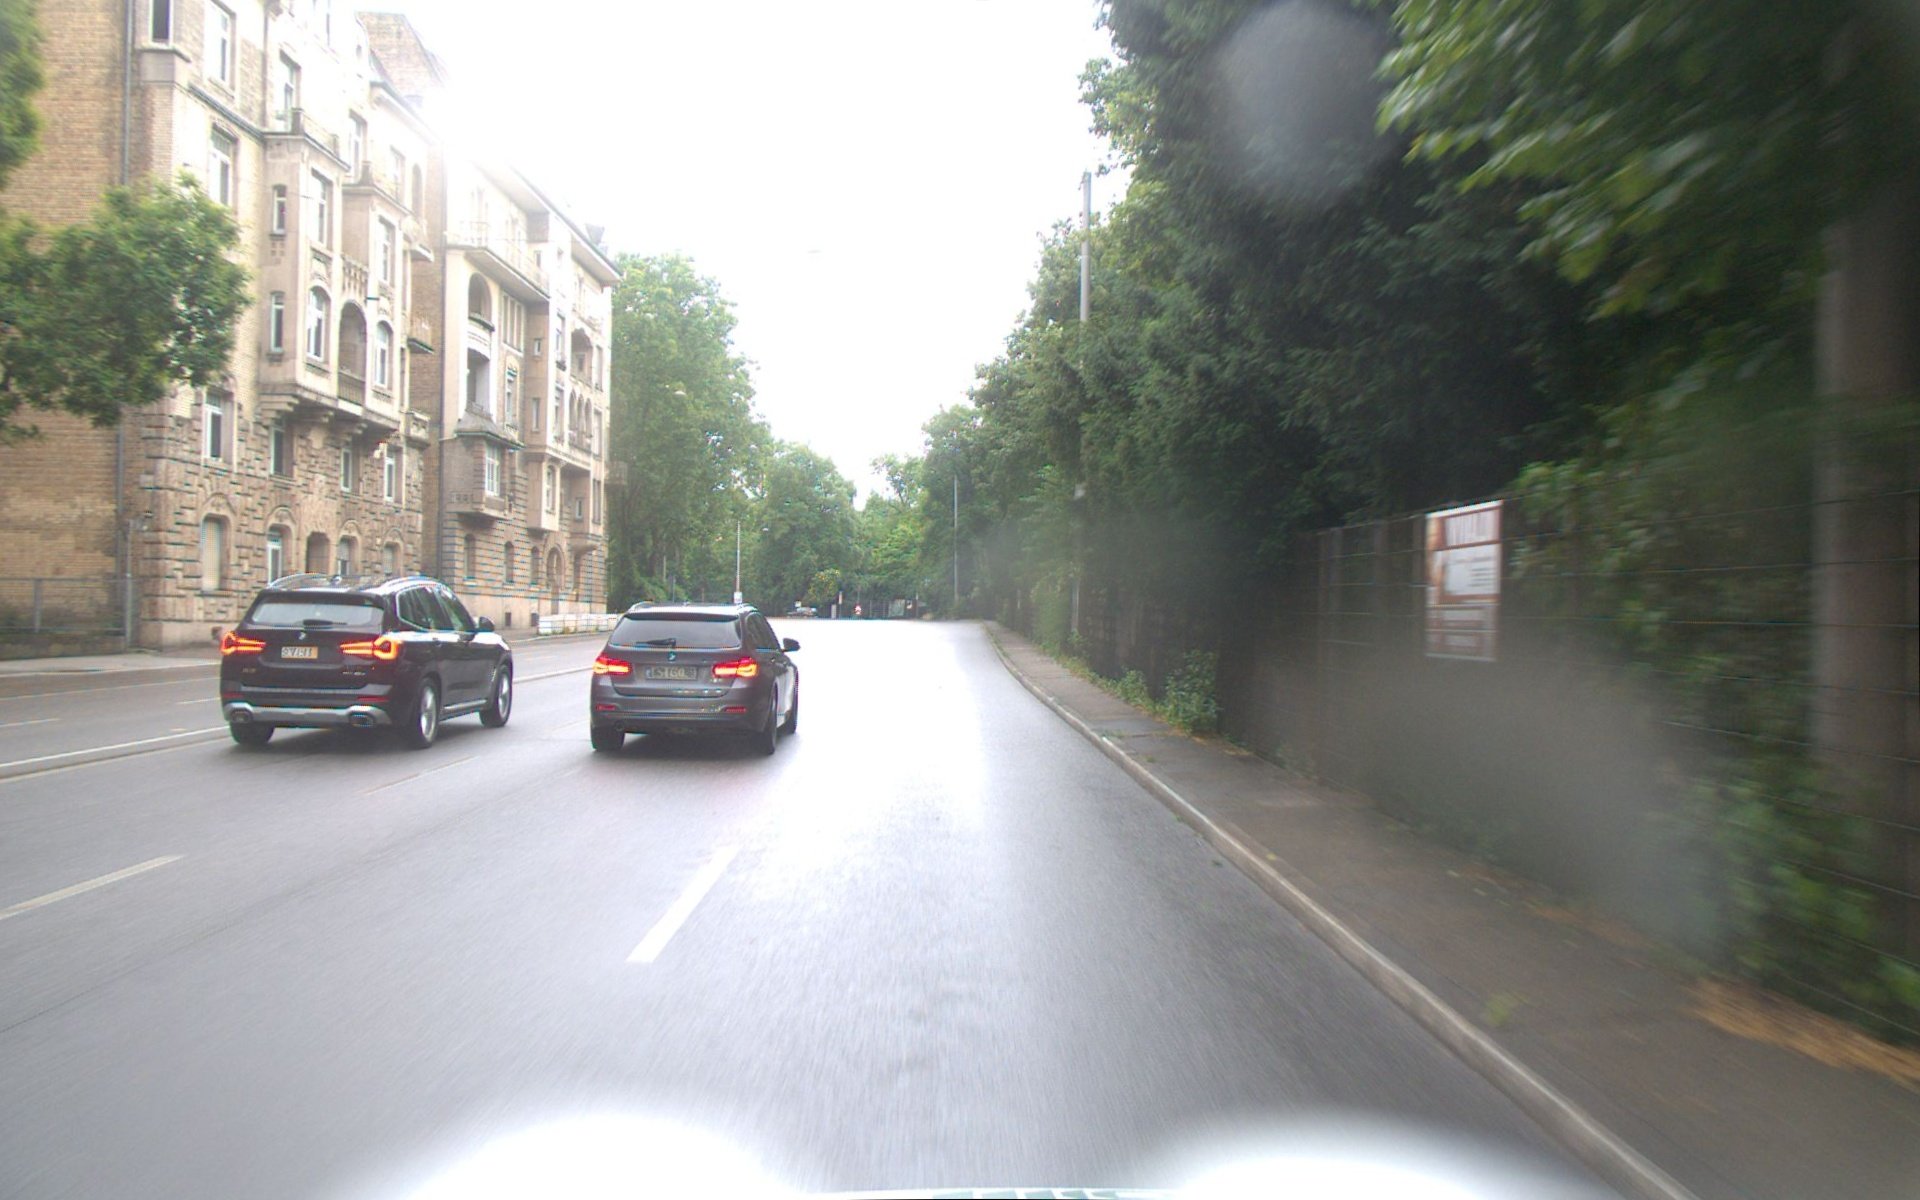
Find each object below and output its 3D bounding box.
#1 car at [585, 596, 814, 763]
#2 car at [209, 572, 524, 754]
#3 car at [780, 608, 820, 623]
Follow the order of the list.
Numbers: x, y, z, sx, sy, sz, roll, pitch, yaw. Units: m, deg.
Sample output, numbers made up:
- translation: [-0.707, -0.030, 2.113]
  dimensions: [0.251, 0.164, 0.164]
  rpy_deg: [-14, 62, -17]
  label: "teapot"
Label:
- translation: [-2.577, 0.744, 17.365]
  dimensions: [1.722, 1.457, 4.411]
  rpy_deg: [2, 0, -1]
  label: "car"
- translation: [-5.989, 0.589, 17.275]
  dimensions: [1.722, 1.614, 4.411]
  rpy_deg: [1, 0, -1]
  label: "car"
- translation: [-16.565, 1.605, 171.376]
  dimensions: [4.295, 1.452, 1.681]
  rpy_deg: [0, -4, 43]
  label: "car"
